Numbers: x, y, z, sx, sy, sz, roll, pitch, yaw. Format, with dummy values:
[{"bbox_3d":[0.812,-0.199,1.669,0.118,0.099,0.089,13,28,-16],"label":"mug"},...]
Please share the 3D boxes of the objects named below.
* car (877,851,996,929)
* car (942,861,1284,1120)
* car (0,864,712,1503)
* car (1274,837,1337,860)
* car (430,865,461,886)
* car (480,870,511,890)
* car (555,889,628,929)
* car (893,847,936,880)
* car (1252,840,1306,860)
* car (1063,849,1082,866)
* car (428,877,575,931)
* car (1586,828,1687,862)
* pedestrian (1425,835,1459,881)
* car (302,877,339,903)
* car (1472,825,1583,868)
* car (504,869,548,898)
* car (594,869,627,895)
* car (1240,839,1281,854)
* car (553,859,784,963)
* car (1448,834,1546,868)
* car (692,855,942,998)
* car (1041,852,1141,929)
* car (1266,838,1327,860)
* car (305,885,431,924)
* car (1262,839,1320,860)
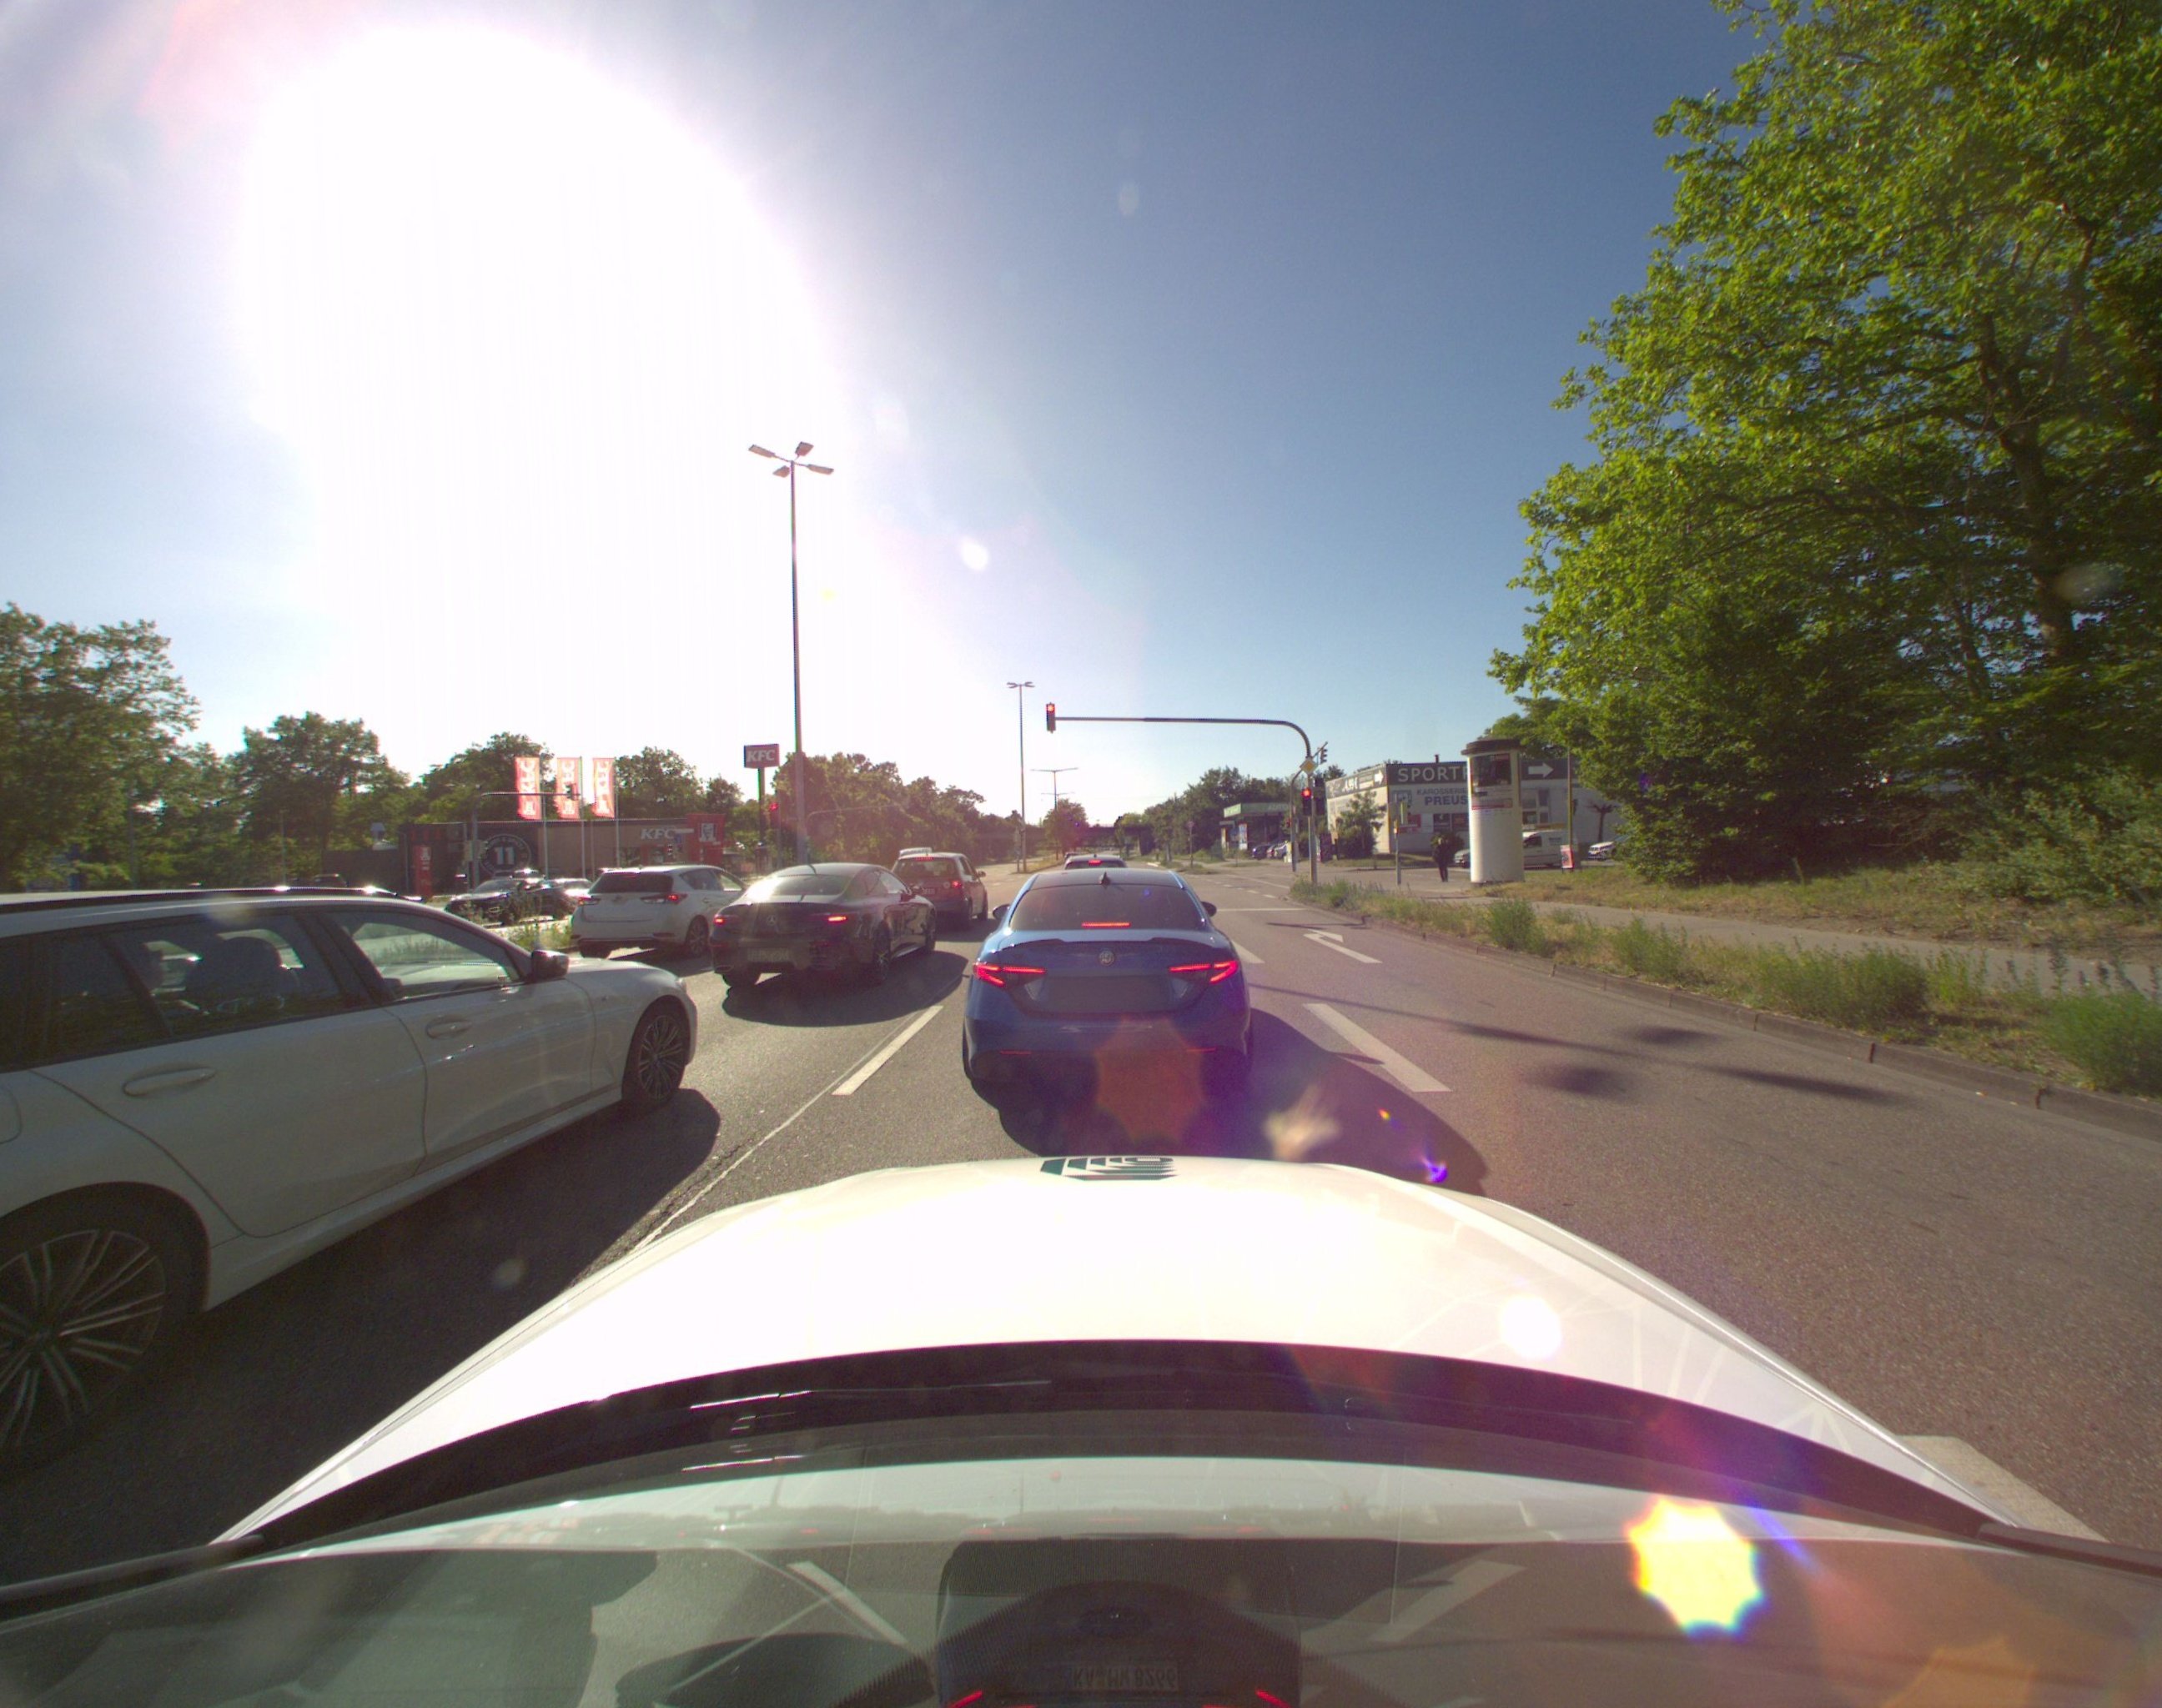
[{"bbox_3d":[-3.022,0.719,17.921,1.753,1.490,4.403,0,0,1],"label":"car"},{"bbox_3d":[0.209,0.777,6.723,1.889,1.418,4.403,0,0,1],"label":"car"},{"bbox_3d":[-3.425,0.804,3.313,1.779,1.490,4.403,0,0,1],"label":"car"},{"bbox_3d":[17.709,-0.419,64.329,4.470,1.454,1.860,-4,0,3],"label":"car"},{"bbox_3d":[-47.632,1.571,61.001,1.670,1.471,3.872,0,-1,-40],"label":"car"},{"bbox_3d":[-45.632,2.032,63.418,1.670,1.471,3.872,0,-1,-40],"label":"car"},{"bbox_3d":[-20.988,2.316,35.078,1.733,1.409,4.278,-4,0,-18],"label":"car"},{"bbox_3d":[-13.680,0.743,67.313,2.015,2.447,5.823,-5,0,1],"label":"car"},{"bbox_3d":[17.952,-0.349,73.913,4.470,1.454,1.860,-4,0,3],"label":"car"},{"bbox_3d":[-0.851,0.408,87.980,1.884,1.816,4.001,0,-1,2],"label":"car"},{"bbox_3d":[-18.450,1.543,26.169,1.753,1.409,3.979,-4,0,1],"label":"car"},{"bbox_3d":[29.029,-0.460,42.631,4.028,1.490,1.782,-3,0,-1],"label":"car"},{"bbox_3d":[14.082,0.156,31.788,0.922,1.735,0.939,0,-1,1],"label":"pedestrian"},{"bbox_3d":[-52.366,2.427,56.108,1.670,1.673,3.897,0,-1,-40],"label":"car"},{"bbox_3d":[21.543,-0.380,39.384,4.367,1.801,1.765,-3,1,0],"label":"car"},{"bbox_3d":[-37.330,1.945,54.872,2.005,1.765,4.315,0,-1,-29],"label":"car"},{"bbox_3d":[-33.661,1.939,58.351,1.920,1.752,4.315,0,-1,-29],"label":"car"},{"bbox_3d":[21.396,-0.876,97.022,4.532,1.490,1.766,-4,0,3],"label":"car"},{"bbox_3d":[-6.750,0.842,13.921,1.753,1.490,4.197,0,-1,1],"label":"car"},{"bbox_3d":[21.771,-0.193,42.720,4.273,1.549,1.765,-3,1,0],"label":"car"},{"bbox_3d":[-3.167,0.784,10.818,1.790,1.490,4.476,0,0,1],"label":"car"},{"bbox_3d":[0.221,0.698,17.366,1.844,1.418,4.403,0,0,1],"label":"car"},{"bbox_3d":[17.715,-0.406,67.110,4.470,1.454,1.860,-4,0,3],"label":"car"},{"bbox_3d":[-33.600,2.359,38.429,4.392,1.490,1.766,-4,0,3],"label":"car"},{"bbox_3d":[17.992,-0.377,69.859,4.470,1.454,1.860,-4,0,3],"label":"car"}]
